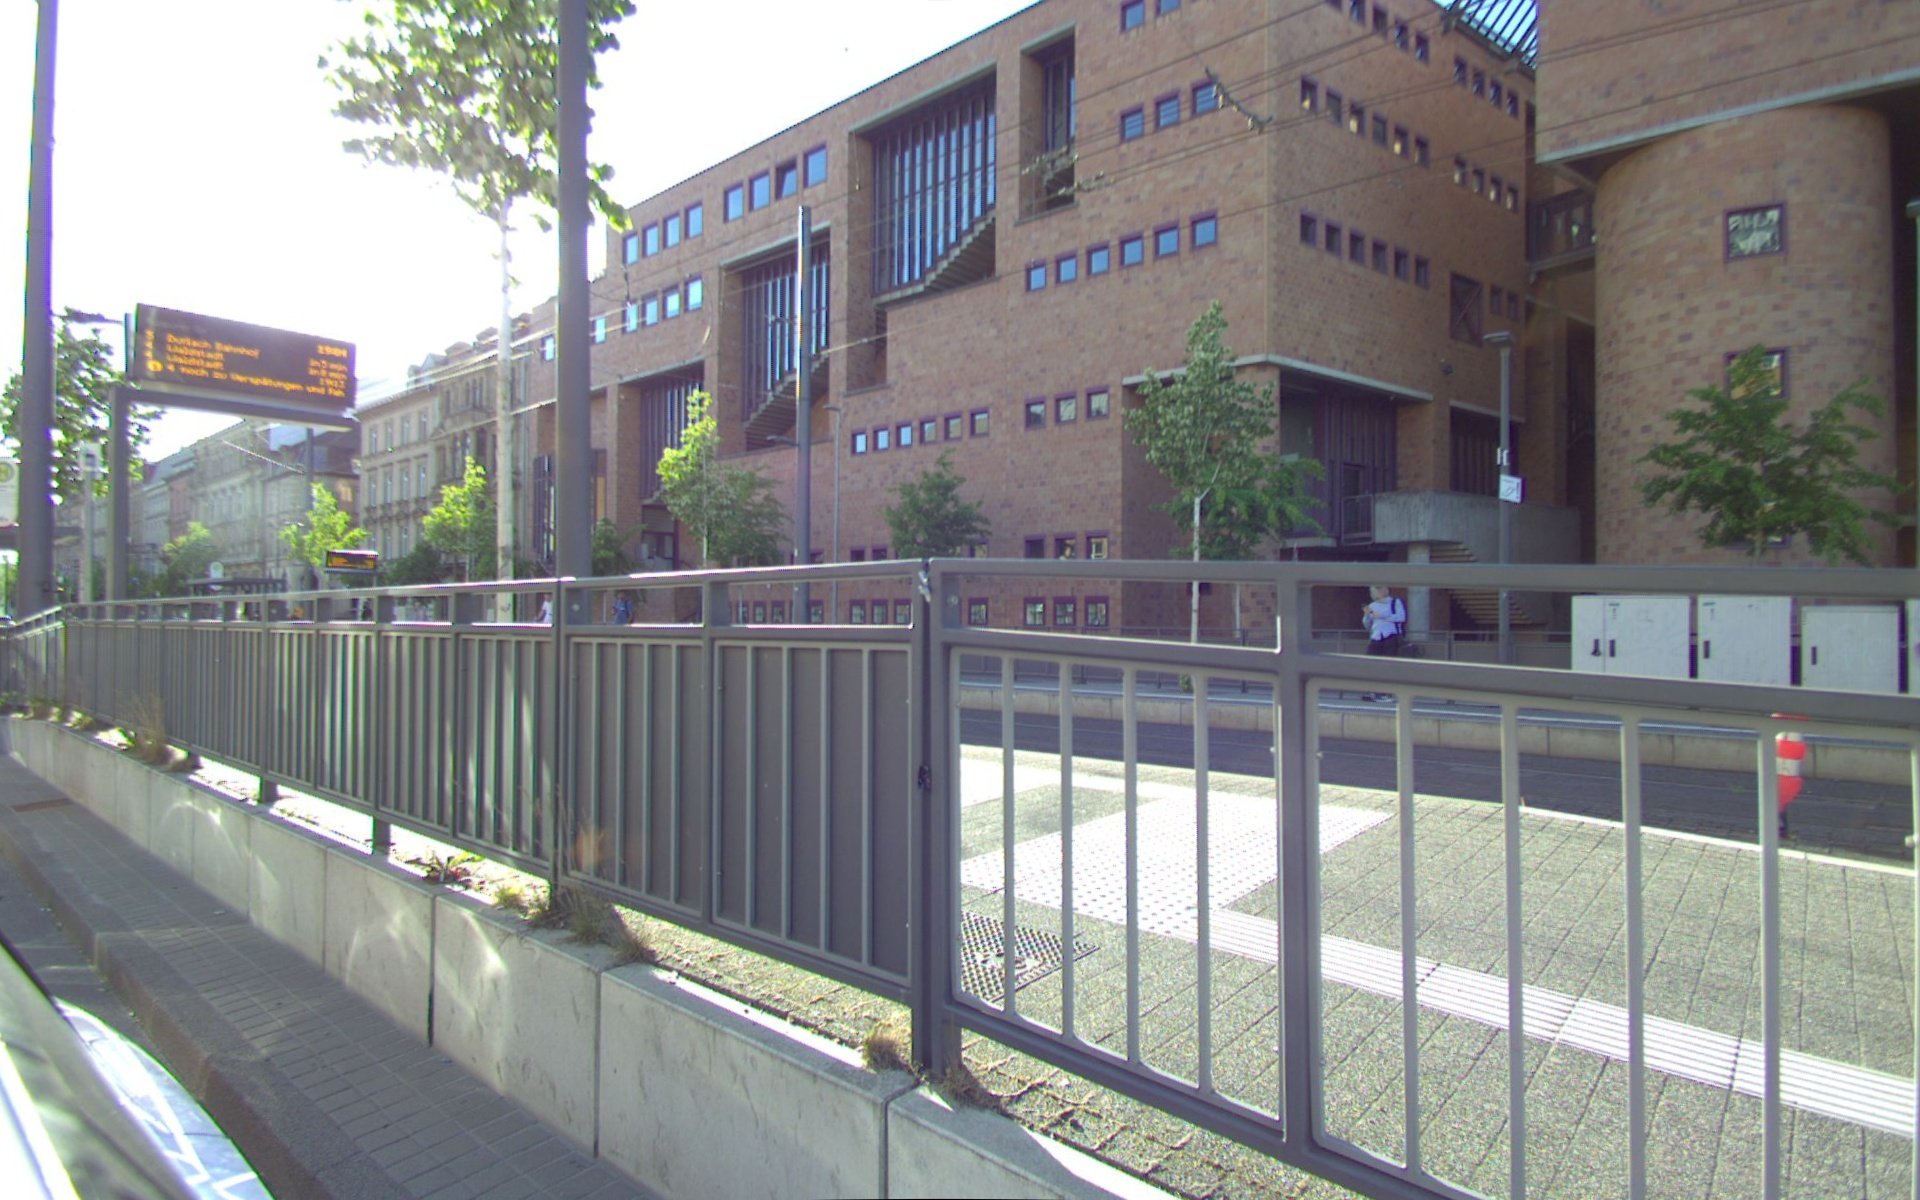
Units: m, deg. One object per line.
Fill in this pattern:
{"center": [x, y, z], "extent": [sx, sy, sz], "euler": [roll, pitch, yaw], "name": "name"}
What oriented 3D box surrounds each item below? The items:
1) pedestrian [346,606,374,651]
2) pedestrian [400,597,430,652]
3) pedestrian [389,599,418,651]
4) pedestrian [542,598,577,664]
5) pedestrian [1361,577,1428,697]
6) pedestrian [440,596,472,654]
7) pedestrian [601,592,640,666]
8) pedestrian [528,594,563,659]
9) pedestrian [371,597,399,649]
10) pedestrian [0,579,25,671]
{"center": [-21.796, 1.031, 36.775], "extent": [0.586, 1.587, 0.684], "euler": [-1, -2, 38], "name": "pedestrian"}
{"center": [-17.897, 0.806, 33.232], "extent": [0.586, 1.755, 0.684], "euler": [-1, -2, 38], "name": "pedestrian"}
{"center": [-18.855, 0.845, 34.307], "extent": [0.586, 1.755, 0.684], "euler": [-1, -2, 38], "name": "pedestrian"}
{"center": [-10.866, 0.836, 27.442], "extent": [0.586, 1.755, 0.684], "euler": [-1, -2, 38], "name": "pedestrian"}
{"center": [5.777, 0.483, 13.455], "extent": [0.653, 1.546, 0.693], "euler": [-1, -2, 38], "name": "pedestrian"}
{"center": [-15.696, 0.780, 31.530], "extent": [0.586, 1.755, 0.684], "euler": [-1, -2, 38], "name": "pedestrian"}
{"center": [-8.227, 0.693, 24.499], "extent": [0.586, 1.755, 0.684], "euler": [-1, -2, 38], "name": "pedestrian"}
{"center": [-11.425, 0.730, 27.895], "extent": [0.586, 1.755, 0.684], "euler": [-1, -2, 38], "name": "pedestrian"}
{"center": [-19.896, 0.802, 35.018], "extent": [0.586, 1.755, 0.684], "euler": [-1, -2, 38], "name": "pedestrian"}
{"center": [-21.509, 0.549, 22.611], "extent": [0.879, 2.029, 0.774], "euler": [-1, -2, 39], "name": "pedestrian"}
